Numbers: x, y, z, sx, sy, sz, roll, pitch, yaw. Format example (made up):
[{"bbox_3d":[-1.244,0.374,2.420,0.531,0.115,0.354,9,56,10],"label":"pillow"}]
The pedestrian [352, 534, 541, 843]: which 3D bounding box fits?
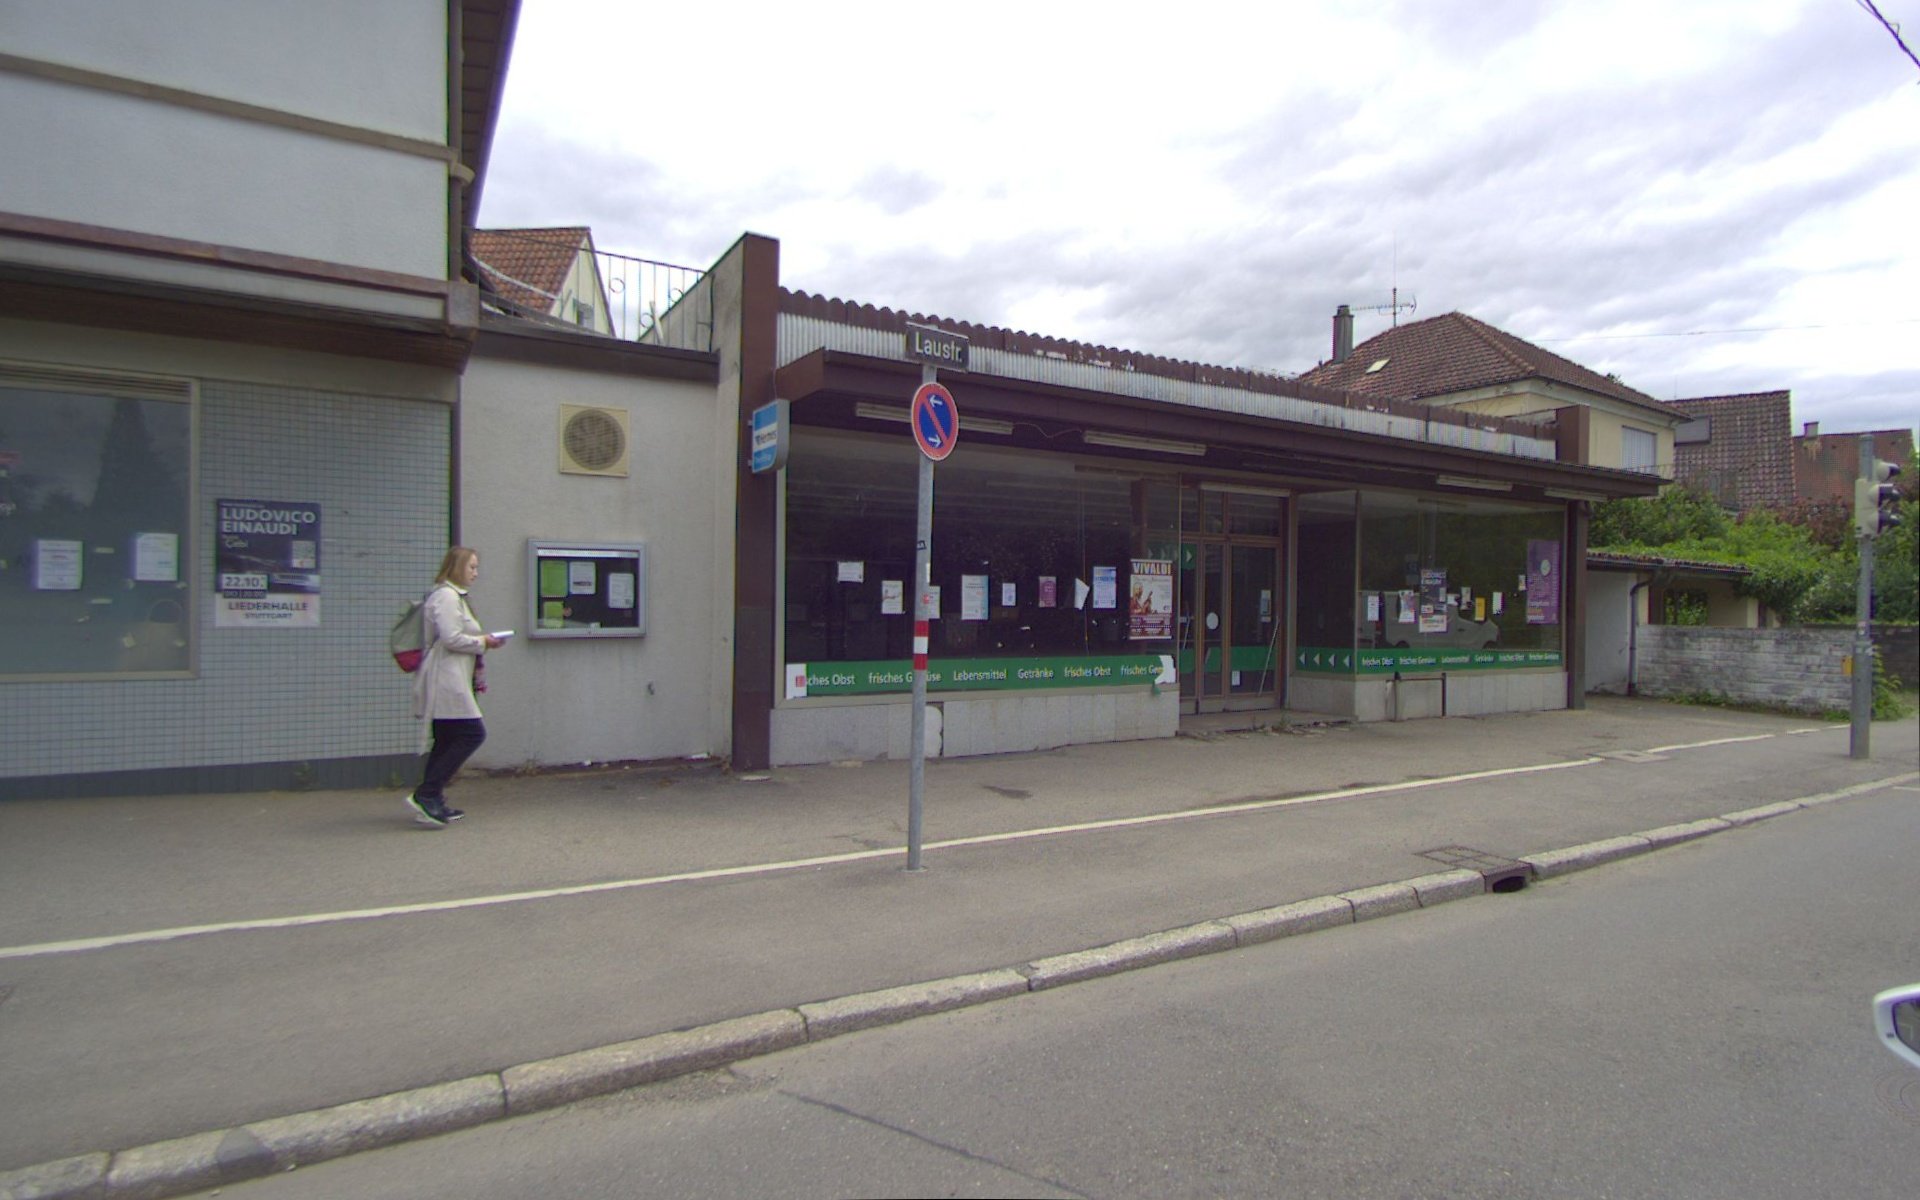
[{"bbox_3d":[-3.285,0.509,6.402,0.953,1.774,0.877,1,1,-33],"label":"pedestrian"}]
